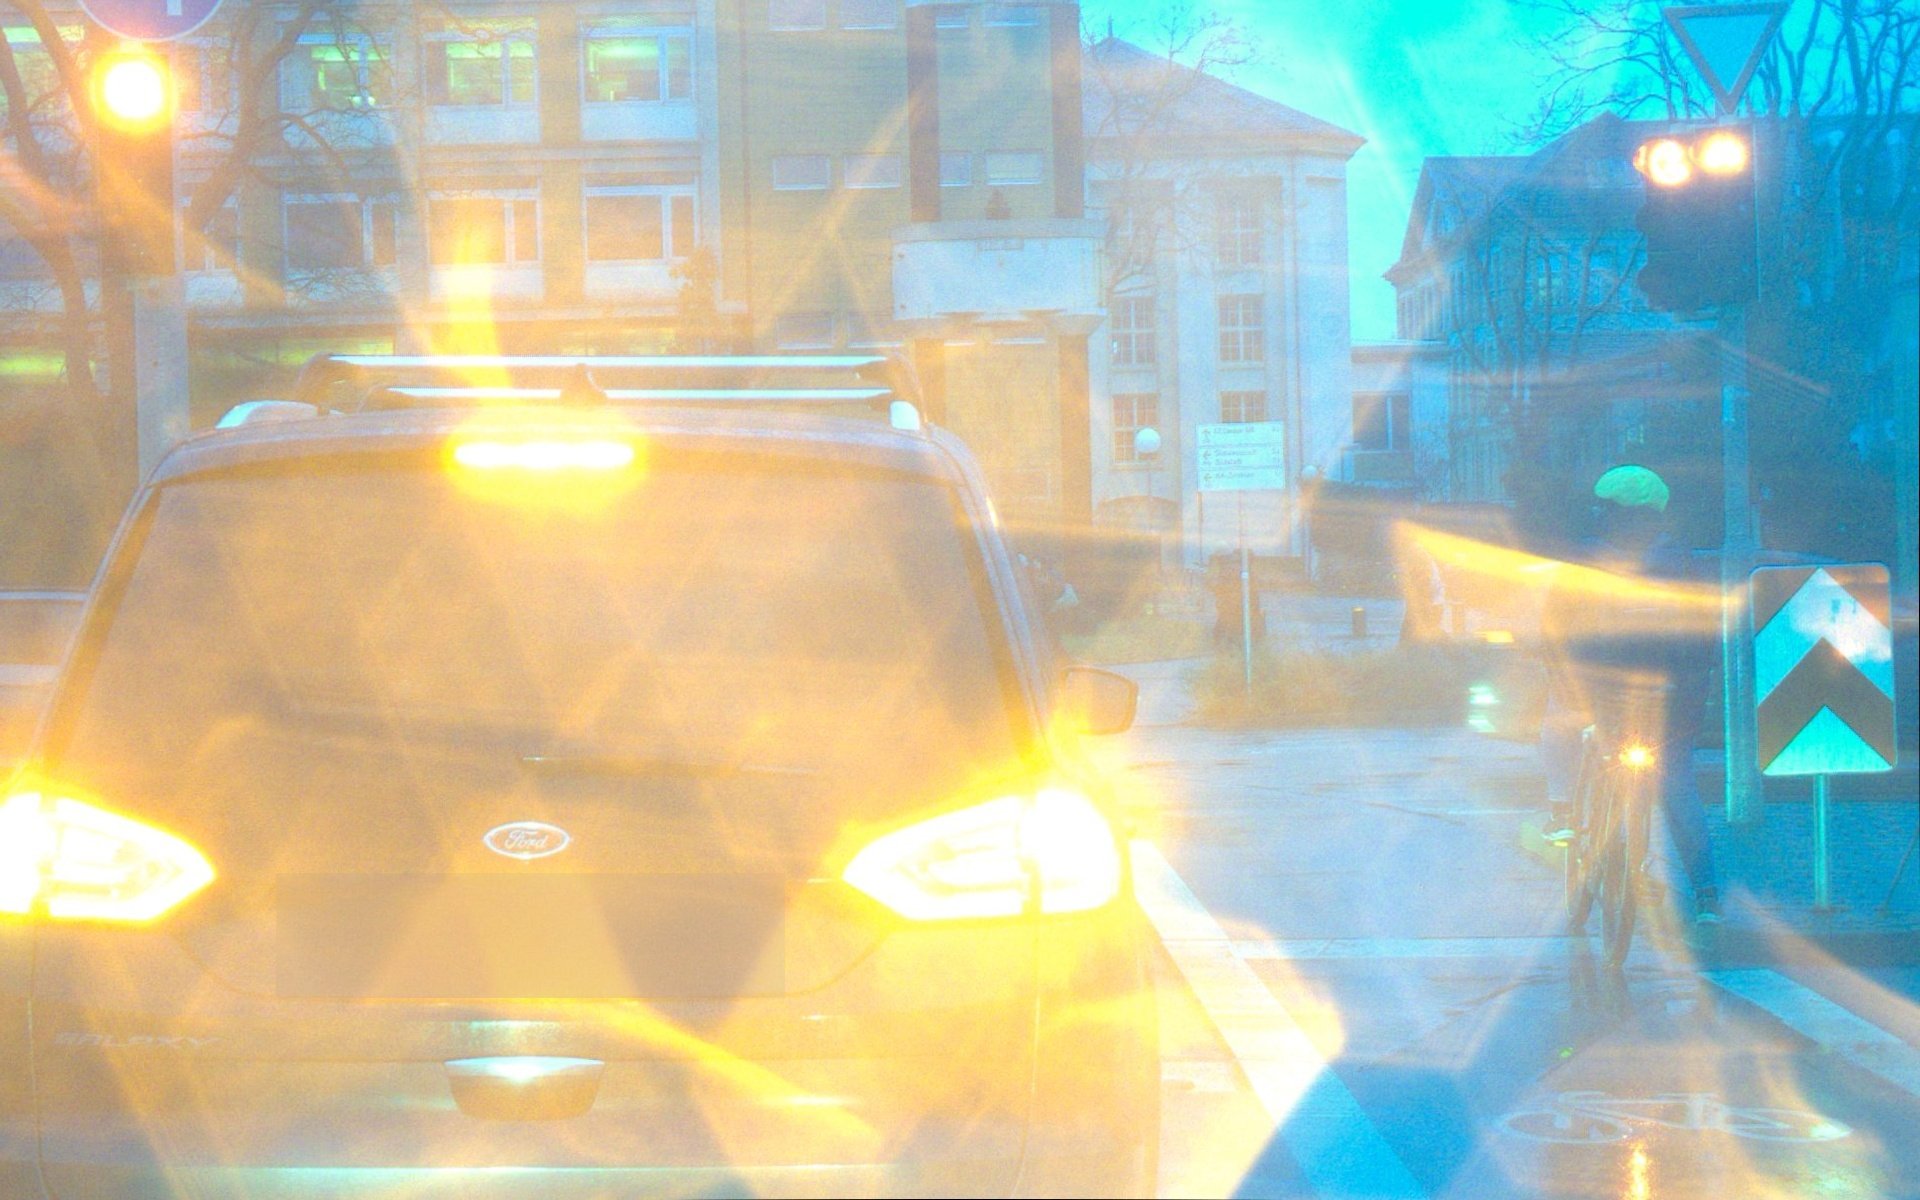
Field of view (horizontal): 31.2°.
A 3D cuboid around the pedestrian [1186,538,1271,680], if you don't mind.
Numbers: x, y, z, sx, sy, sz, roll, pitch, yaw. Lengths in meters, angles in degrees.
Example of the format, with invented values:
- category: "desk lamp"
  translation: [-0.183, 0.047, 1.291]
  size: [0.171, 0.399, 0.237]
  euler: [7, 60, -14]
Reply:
- category: "pedestrian"
  translation: [3.514, 0.107, 44.932]
  size: [0.997, 1.793, 0.919]
  euler: [-2, 1, 9]

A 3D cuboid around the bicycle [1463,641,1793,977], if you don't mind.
- category: "bicycle"
  translation: [2.377, 0.711, 12.478]
  size: [0.783, 1.071, 1.957]
  euler: [1, 1, -1]

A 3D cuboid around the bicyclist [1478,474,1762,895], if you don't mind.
- category: "bicyclist"
  translation: [2.373, 0.289, 12.483]
  size: [0.783, 1.448, 1.134]
  euler: [1, 0, -1]

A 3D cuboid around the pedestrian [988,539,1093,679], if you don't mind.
- category: "pedestrian"
  translation: [1.035, 0.107, 43.690]
  size: [1.136, 1.714, 0.981]
  euler: [-2, 1, 10]

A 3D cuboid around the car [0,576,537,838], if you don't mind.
- category: "car"
  translation: [-5.107, 0.659, 21.219]
  size: [4.580, 1.472, 1.810]
  euler: [-2, 0, 12]

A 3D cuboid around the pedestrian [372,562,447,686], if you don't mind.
- category: "pedestrian"
  translation: [-7.396, 0.322, 46.240]
  size: [0.760, 1.622, 0.721]
  euler: [-2, 1, 8]

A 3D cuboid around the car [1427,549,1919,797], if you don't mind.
- category: "car"
  translation: [5.380, 0.432, 22.059]
  size: [4.580, 1.472, 1.810]
  euler: [-2, 0, 12]

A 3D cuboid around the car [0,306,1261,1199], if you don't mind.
- category: "car"
  translation: [-0.633, 0.492, 6.562]
  size: [1.993, 1.783, 4.000]
  euler: [1, 1, -1]
